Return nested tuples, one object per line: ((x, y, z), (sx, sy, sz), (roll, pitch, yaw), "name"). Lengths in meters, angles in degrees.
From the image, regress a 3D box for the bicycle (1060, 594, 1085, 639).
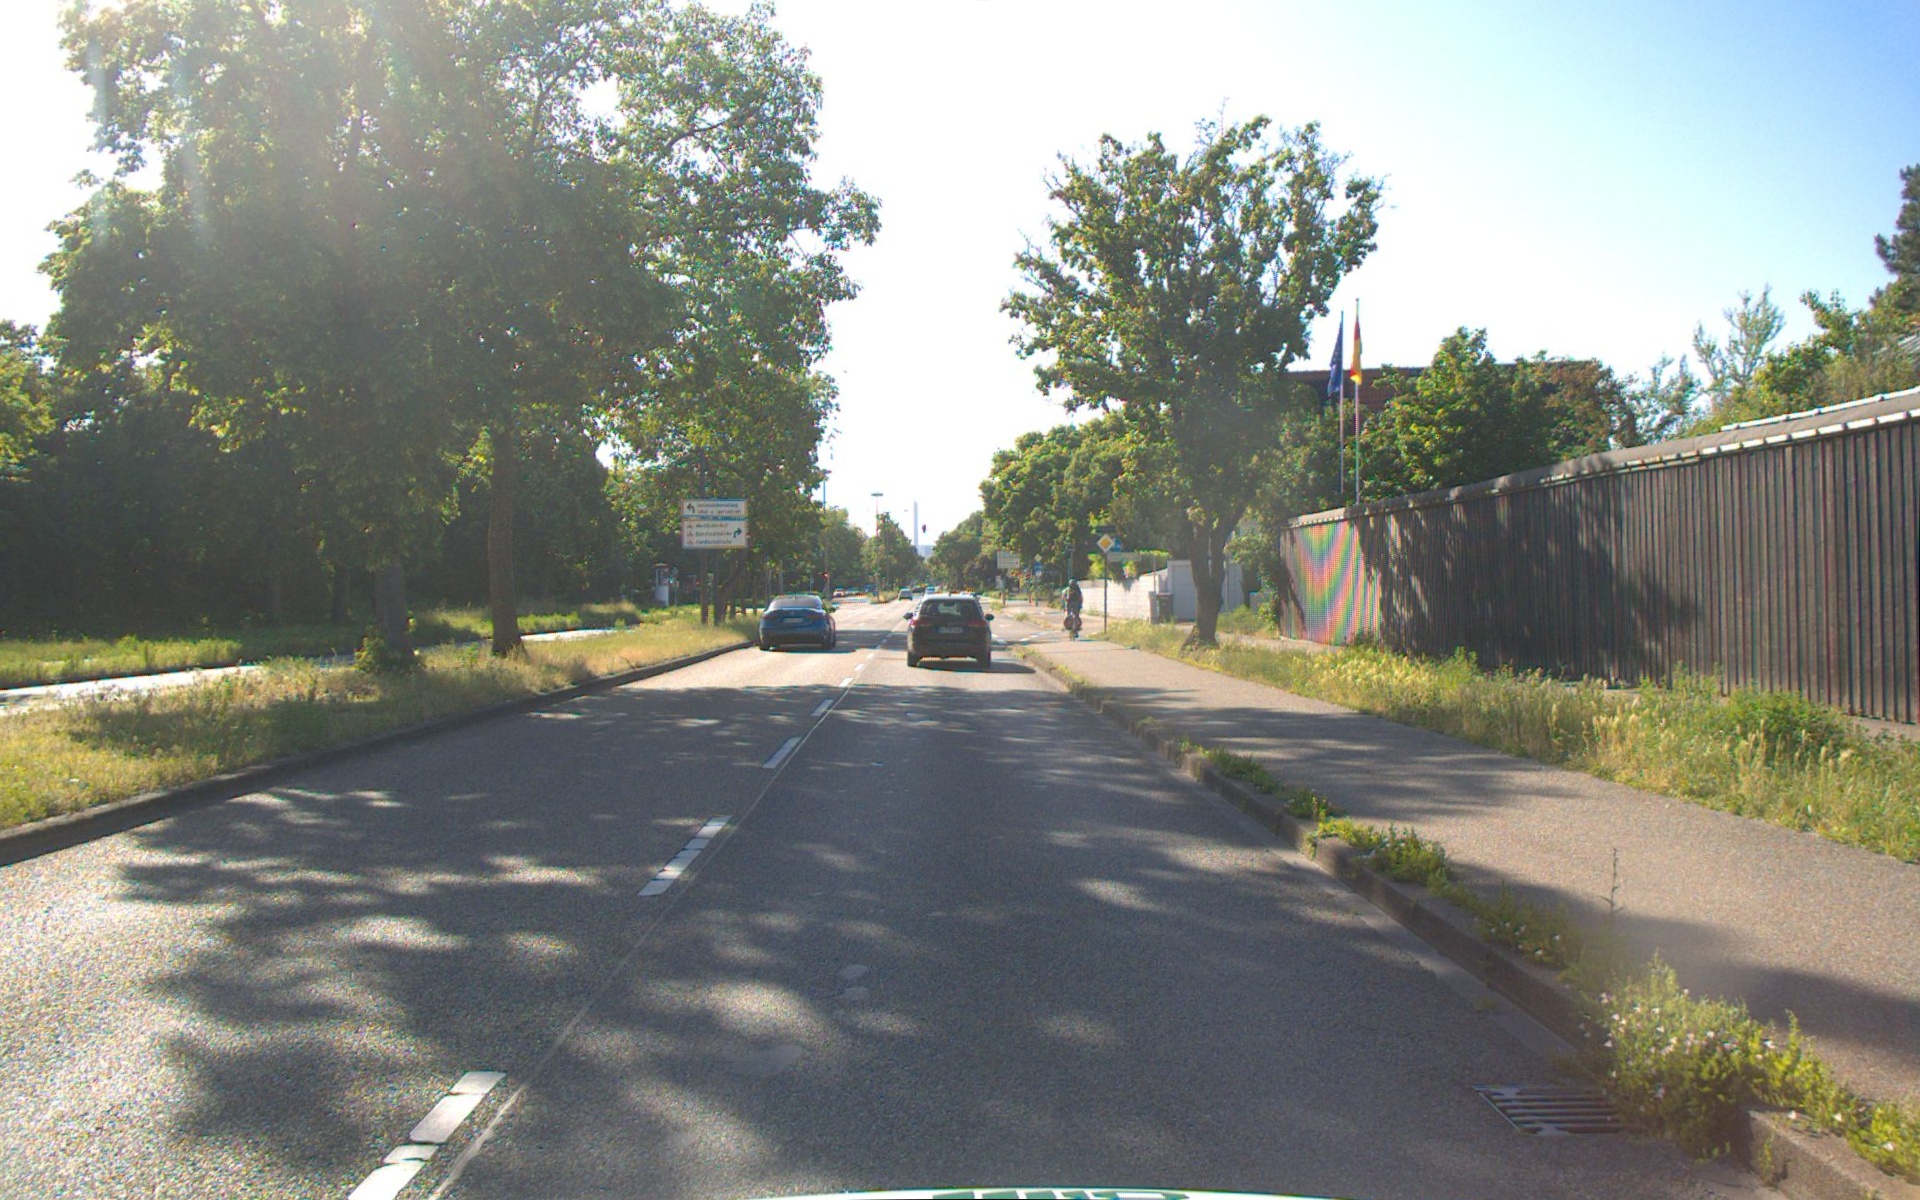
((3.140, 0.441, 46.267), (0.562, 1.175, 2.141), (-4, 1, 2), "bicycle")

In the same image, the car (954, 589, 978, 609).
((0.482, -0.094, 130.319), (1.696, 1.485, 3.841), (0, 0, 2), "car")

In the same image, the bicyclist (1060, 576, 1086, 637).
((3.156, 0.174, 46.236), (0.617, 1.661, 0.982), (-4, 1, 2), "bicyclist")

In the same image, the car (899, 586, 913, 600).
((-7.086, -0.949, 217.602), (1.788, 1.643, 3.839), (2, 1, -3), "car")

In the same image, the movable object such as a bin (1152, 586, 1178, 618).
((8.088, 0.091, 65.285), (0.980, 1.226, 1.063), (-2, -1, 6), "movable object such as a bin")

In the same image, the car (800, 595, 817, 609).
((-19.559, 0.240, 213.524), (1.873, 1.733, 4.407), (1, -1, -1), "car")

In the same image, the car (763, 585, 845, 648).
((-4.129, 0.425, 44.217), (1.850, 1.579, 3.999), (-1, 0, -1), "car")

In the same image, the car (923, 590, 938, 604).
((-3.385, -0.325, 189.898), (1.697, 1.613, 3.839), (1, 0, -1), "car")

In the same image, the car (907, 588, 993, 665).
((-0.230, 0.538, 35.080), (1.720, 1.535, 3.807), (0, 0, -1), "car")
